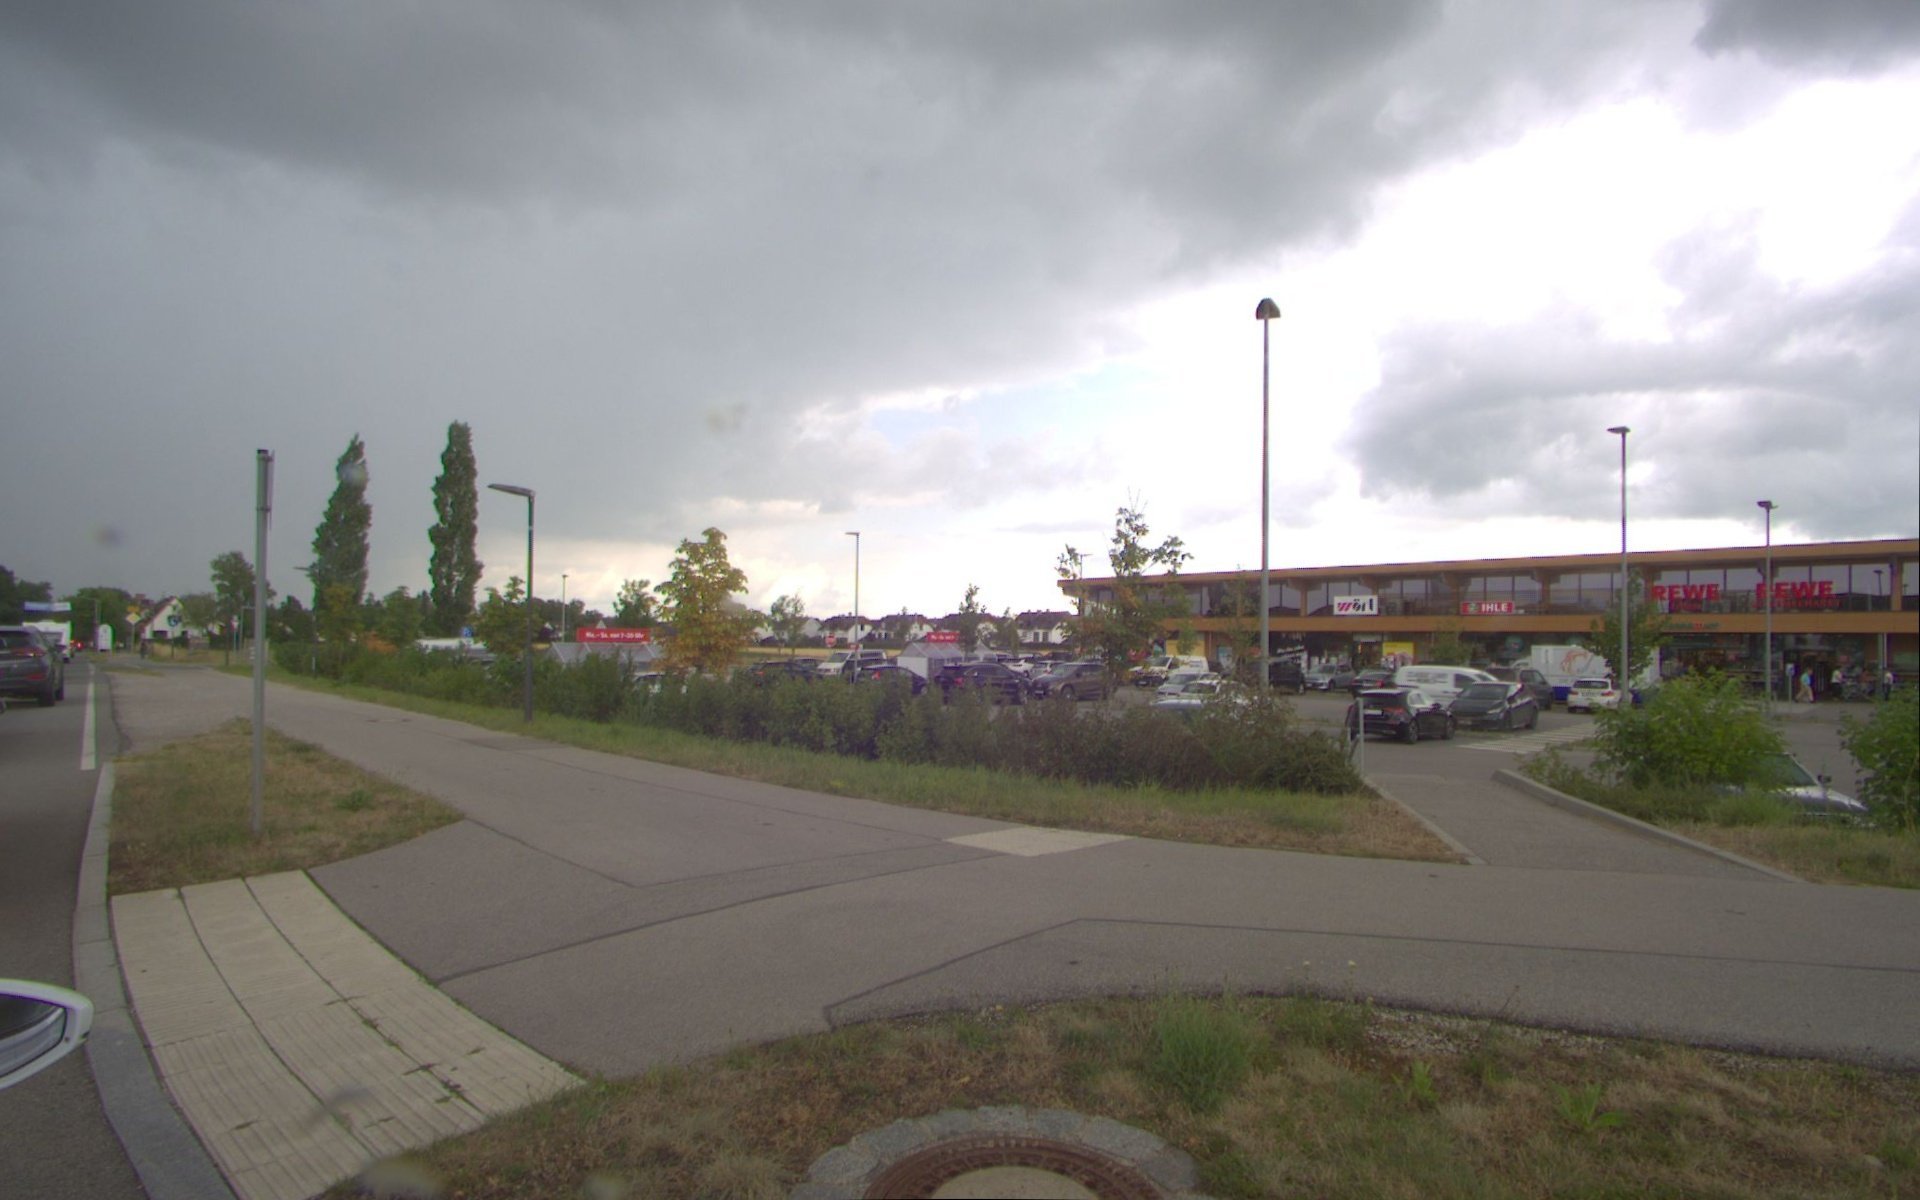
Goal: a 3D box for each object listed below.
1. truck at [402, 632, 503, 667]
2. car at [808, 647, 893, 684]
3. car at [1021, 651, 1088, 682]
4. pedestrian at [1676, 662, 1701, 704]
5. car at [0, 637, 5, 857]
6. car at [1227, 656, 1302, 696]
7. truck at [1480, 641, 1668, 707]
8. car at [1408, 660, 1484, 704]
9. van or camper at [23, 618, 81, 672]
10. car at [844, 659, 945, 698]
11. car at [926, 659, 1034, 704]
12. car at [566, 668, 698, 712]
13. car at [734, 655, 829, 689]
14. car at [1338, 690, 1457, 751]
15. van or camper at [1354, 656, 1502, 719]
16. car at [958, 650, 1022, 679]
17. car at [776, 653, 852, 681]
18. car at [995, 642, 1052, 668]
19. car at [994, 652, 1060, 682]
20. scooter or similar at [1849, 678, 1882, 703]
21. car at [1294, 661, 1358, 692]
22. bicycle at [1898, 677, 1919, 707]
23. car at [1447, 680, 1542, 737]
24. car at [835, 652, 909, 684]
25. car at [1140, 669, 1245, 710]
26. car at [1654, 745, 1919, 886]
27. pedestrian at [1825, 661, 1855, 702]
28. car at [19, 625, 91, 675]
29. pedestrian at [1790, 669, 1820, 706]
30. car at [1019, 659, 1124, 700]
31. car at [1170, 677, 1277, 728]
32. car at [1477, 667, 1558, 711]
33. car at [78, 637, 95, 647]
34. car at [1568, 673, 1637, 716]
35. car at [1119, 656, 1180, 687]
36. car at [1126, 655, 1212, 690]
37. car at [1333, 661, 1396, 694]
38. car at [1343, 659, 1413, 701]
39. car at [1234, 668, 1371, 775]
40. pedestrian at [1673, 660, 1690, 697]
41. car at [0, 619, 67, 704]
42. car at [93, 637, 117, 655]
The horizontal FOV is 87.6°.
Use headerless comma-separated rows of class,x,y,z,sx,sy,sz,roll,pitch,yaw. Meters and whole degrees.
truck,-28.950,2.863,57.245,1.980,1.895,4.770,-2,-4,44
car,-6.451,3.836,59.525,1.975,2.039,5.090,0,-2,38
car,5.963,4.176,62.840,3.956,1.860,1.985,3,-4,-39
pedestrian,35.748,4.056,49.125,0.921,2.039,0.799,-1,-2,42
car,-6.401,0.915,5.386,1.772,1.409,4.094,1,-2,-43
car,15.807,3.942,51.898,3.962,1.859,1.983,6,-5,-42
truck,28.995,3.419,47.526,7.183,2.842,2.951,-2,-3,44
car,22.081,3.699,45.424,3.960,1.877,1.757,3,-4,-42
van or camper,-59.424,2.976,65.663,2.607,3.364,6.763,3,-4,-41
car,-2.972,3.571,46.150,4.373,1.685,1.983,3,-3,-42
car,0.875,3.351,41.438,4.421,1.727,1.788,4,-4,-42
car,-12.028,3.269,36.826,4.203,1.458,1.983,3,-3,-41
car,-9.294,3.742,52.368,4.525,1.685,1.983,3,-3,-42
car,12.287,3.308,28.028,1.817,1.415,3.965,-1,-3,44
van or camper,17.390,3.196,37.401,1.746,2.124,4.767,2,-3,-39
car,2.021,4.308,66.873,3.955,1.860,1.985,3,-3,-38
car,-8.851,4.037,60.872,4.280,1.597,1.753,3,-3,-40
car,4.681,4.081,73.961,3.954,1.863,1.861,2,-3,-38
car,4.378,4.317,64.864,3.954,1.861,1.985,3,-3,-38
scooter or similar,43.755,4.361,48.387,0.987,1.140,0.791,0,-4,29
car,20.273,4.233,55.405,1.750,1.632,4.188,-2,-4,45
bicycle,44.670,4.203,45.535,0.970,1.325,2.844,2,-3,-42
car,17.058,3.383,31.870,1.713,1.572,3.967,-1,-3,43
car,-4.936,3.850,56.447,3.960,1.727,1.701,3,-4,-42
car,9.682,3.671,41.486,4.741,1.503,1.887,3,-3,-42
car,11.731,2.952,14.349,1.551,1.389,3.733,0,-3,11
pedestrian,42.943,3.969,48.878,0.914,1.921,0.791,1,-4,29
car,-31.584,1.730,35.020,1.764,1.638,3.966,1,-3,-41
pedestrian,40.274,4.163,47.730,0.738,1.678,0.803,1,-2,-21
car,5.089,3.561,45.366,4.940,1.685,1.982,3,-3,-42
car,8.656,3.286,32.717,1.665,1.503,3.962,-2,-4,44
car,23.790,3.752,42.666,4.080,1.746,1.836,4,-5,-43
car,-116.569,5.586,133.698,1.601,1.288,3.432,3,-3,-40
car,26.068,3.789,40.583,1.713,1.549,3.967,-1,-3,43
car,12.228,4.587,64.491,4.076,1.917,1.781,4,-4,-43
car,11.654,4.007,55.635,5.250,1.853,1.983,4,-4,-42
car,21.755,4.165,53.840,3.858,1.674,1.751,4,-4,-44
car,19.953,3.750,47.736,1.754,1.878,3.966,-1,-3,44
car,4.644,1.625,13.989,1.550,1.221,3.756,1,-4,15
pedestrian,39.128,4.261,54.289,0.517,1.973,0.576,1,-2,-25
car,-19.805,1.237,20.813,1.764,1.638,3.965,3,-3,-41
car,-80.017,4.281,93.742,1.601,1.651,3.586,3,-3,-40
